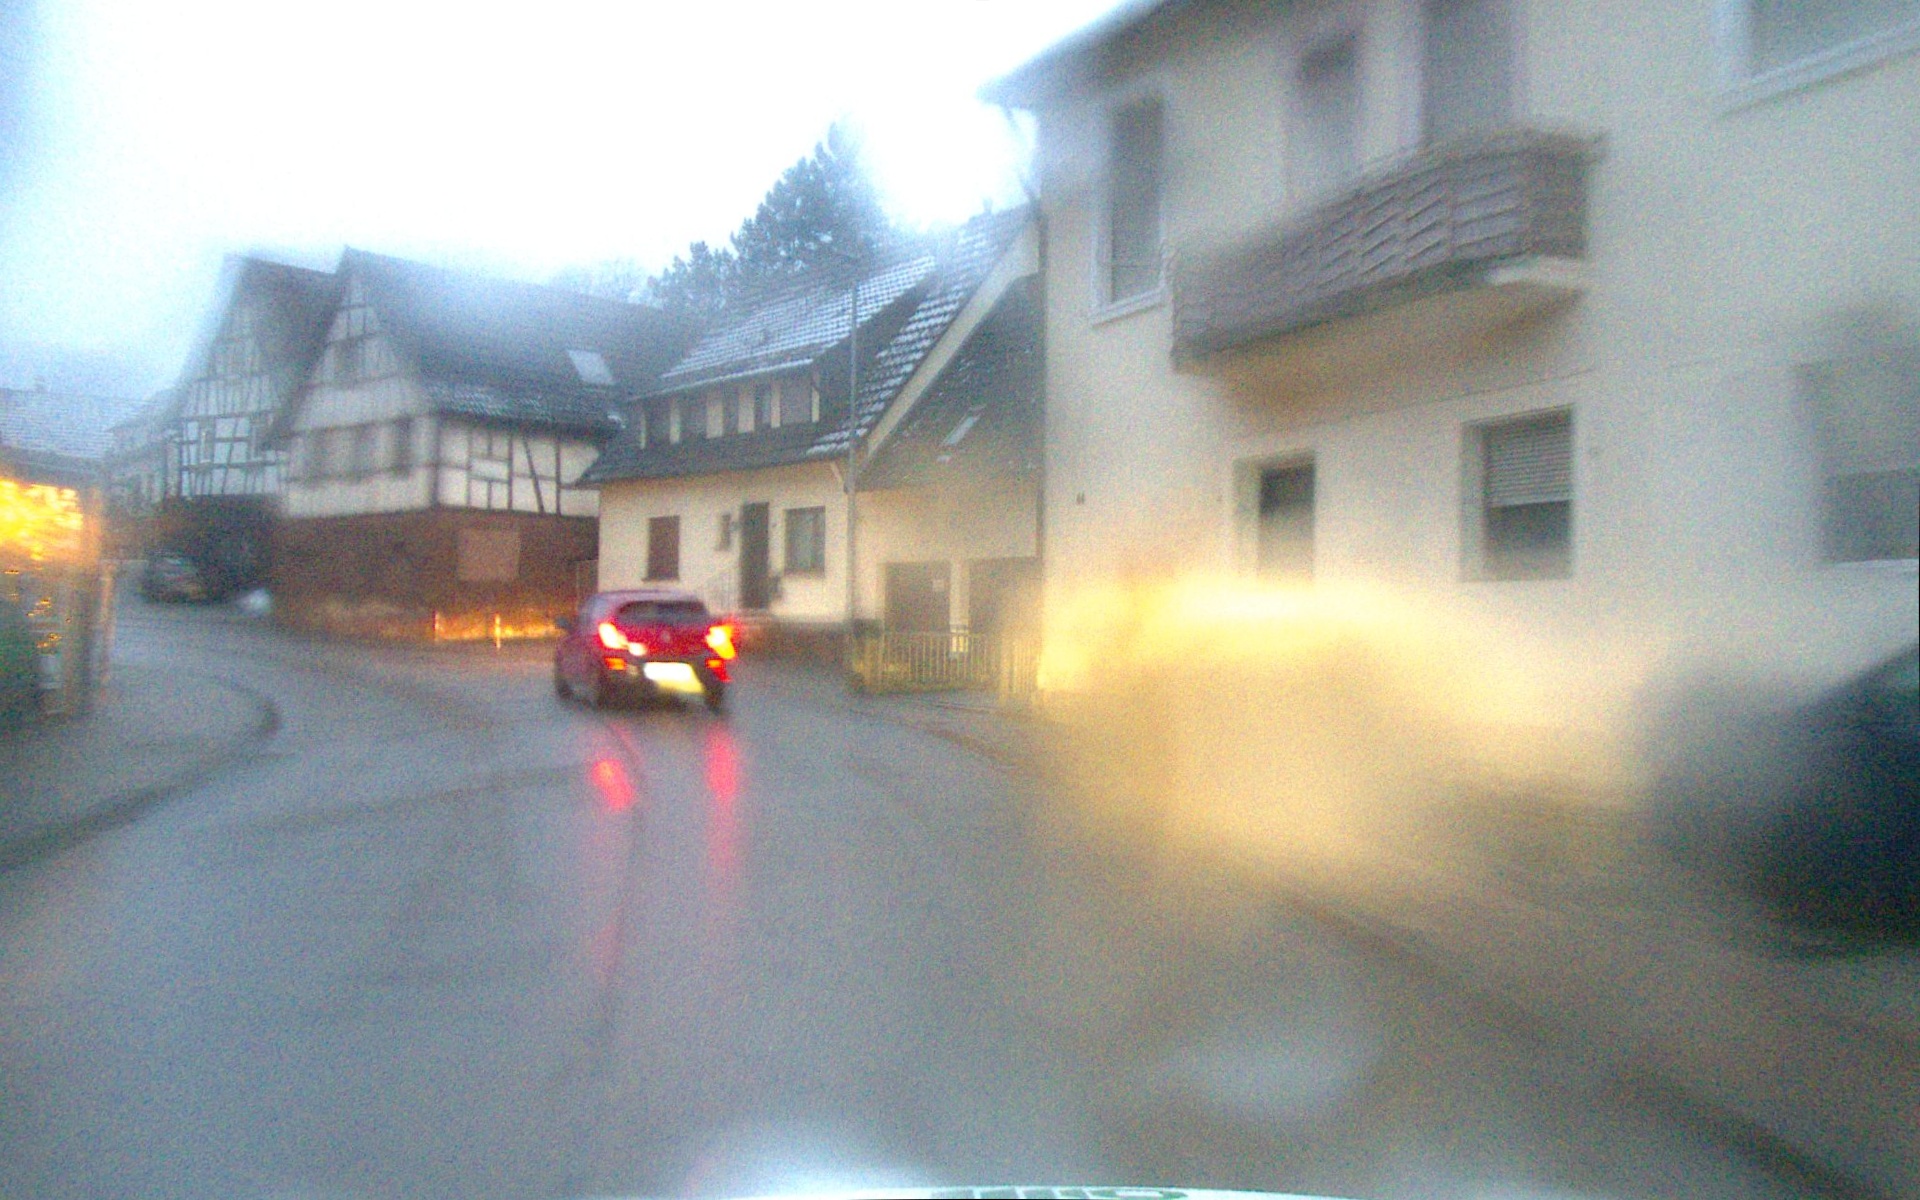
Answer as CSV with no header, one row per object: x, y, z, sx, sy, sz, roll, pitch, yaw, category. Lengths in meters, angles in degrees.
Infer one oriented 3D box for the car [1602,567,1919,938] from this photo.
4.891,0.594,6.712,1.783,1.513,4.246,-1,-1,-24,car

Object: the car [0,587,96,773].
-8.216,0.591,12.613,1.588,1.446,3.797,2,-1,-7,car

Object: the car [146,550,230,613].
-22.992,-0.579,49.189,1.580,1.541,3.937,-1,6,-35,car

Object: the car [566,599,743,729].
-4.030,0.773,21.400,1.524,1.491,3.674,3,-1,-22,car
